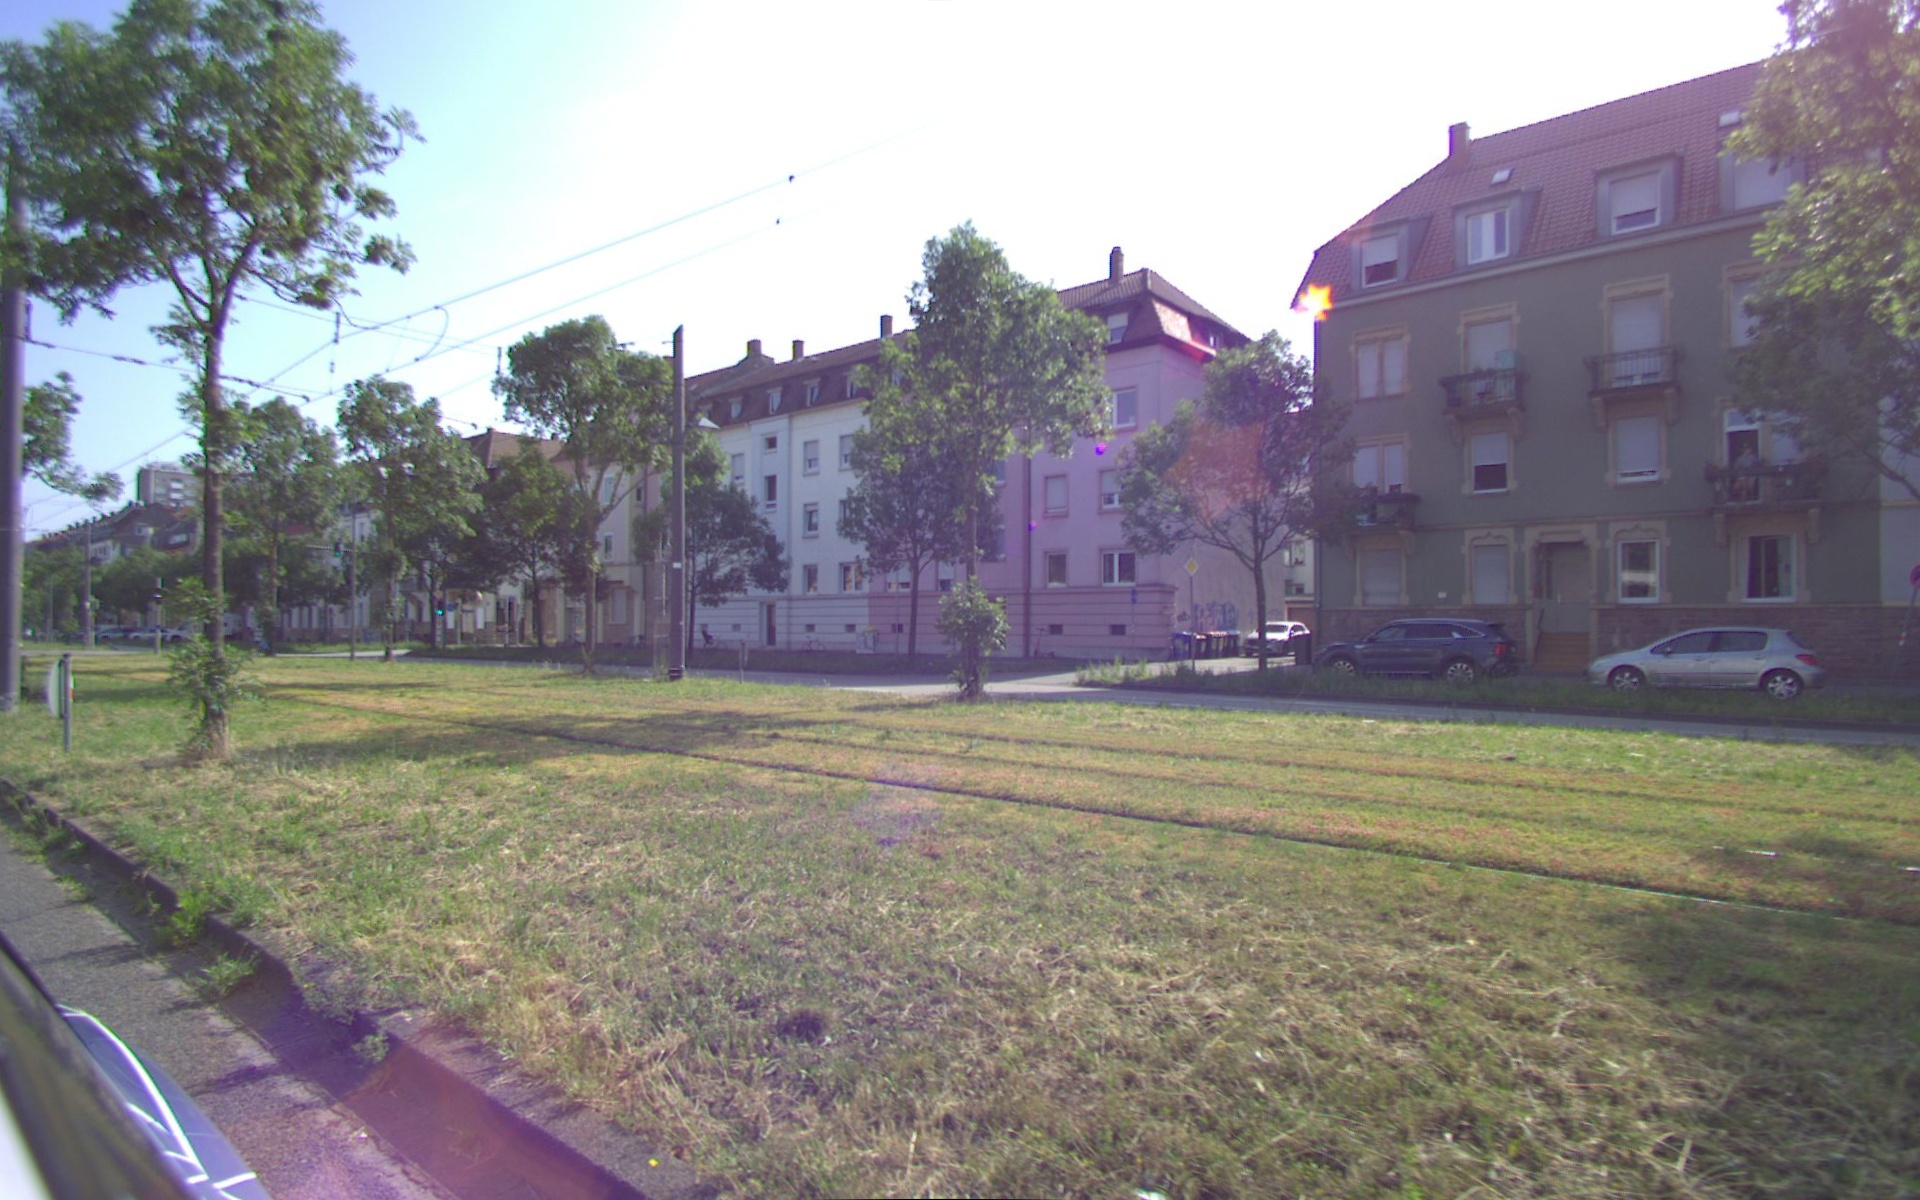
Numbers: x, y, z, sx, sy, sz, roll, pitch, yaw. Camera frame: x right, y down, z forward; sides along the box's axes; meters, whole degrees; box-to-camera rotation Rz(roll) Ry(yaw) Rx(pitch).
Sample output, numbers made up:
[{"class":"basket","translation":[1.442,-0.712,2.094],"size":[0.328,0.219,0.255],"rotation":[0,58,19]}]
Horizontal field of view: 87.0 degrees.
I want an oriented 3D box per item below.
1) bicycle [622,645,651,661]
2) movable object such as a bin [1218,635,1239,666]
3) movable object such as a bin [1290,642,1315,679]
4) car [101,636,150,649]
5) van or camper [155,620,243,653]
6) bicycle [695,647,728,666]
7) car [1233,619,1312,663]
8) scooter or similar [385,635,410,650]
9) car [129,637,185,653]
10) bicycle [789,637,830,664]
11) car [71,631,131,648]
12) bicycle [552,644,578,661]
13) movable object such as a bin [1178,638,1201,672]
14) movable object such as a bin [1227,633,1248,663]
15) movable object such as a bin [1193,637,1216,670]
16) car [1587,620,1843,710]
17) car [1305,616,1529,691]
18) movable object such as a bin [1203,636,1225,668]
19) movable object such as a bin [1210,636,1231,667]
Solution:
[{"class":"bicycle","translation":[-16.976,2.785,53.048],"size":[1.945,0.795,0.433],"rotation":[-1,0,39]},{"class":"movable object such as a bin","translation":[10.931,2.032,41.169],"size":[0.639,1.220,0.579],"rotation":[-1,0,39]},{"class":"movable object such as a bin","translation":[11.779,2.062,34.796],"size":[0.639,1.220,0.579],"rotation":[-1,0,39]},{"class":"car","translation":[-88.496,4.488,107.297],"size":[3.624,1.251,1.667],"rotation":[-1,0,-15]},{"class":"van or camper","translation":[-68.089,3.245,90.663],"size":[5.826,2.593,2.206],"rotation":[-1,0,-15]},{"class":"bicycle","translation":[-11.963,2.711,48.629],"size":[1.945,0.863,0.443],"rotation":[-1,0,39]},{"class":"car","translation":[13.451,1.726,43.408],"size":[1.824,1.640,4.237],"rotation":[-2,0,38]},{"class":"scooter or similar","translation":[-41.081,3.103,73.898],"size":[1.476,1.077,0.737],"rotation":[-1,0,19]},{"class":"car","translation":[-78.276,4.415,98.670],"size":[3.947,1.326,1.667],"rotation":[-1,0,-15]},{"class":"bicycle","translation":[-6.587,2.196,44.121],"size":[1.945,1.136,0.598],"rotation":[-1,0,39]},{"class":"car","translation":[-98.635,4.553,116.278],"size":[4.868,1.739,1.862],"rotation":[-1,0,-15]},{"class":"bicycle","translation":[-22.590,2.995,57.852],"size":[1.945,0.895,0.463],"rotation":[-1,0,39]},{"class":"movable object such as a bin","translation":[8.723,2.086,38.434],"size":[0.639,1.220,0.579],"rotation":[-1,0,39]},{"class":"movable object such as a bin","translation":[11.423,1.975,41.705],"size":[0.639,1.220,0.579],"rotation":[-1,0,39]},{"class":"movable object such as a bin","translation":[9.534,2.079,39.453],"size":[0.639,1.220,0.579],"rotation":[-1,0,39]},{"class":"car","translation":[15.846,1.300,21.394],"size":[4.153,1.640,1.871],"rotation":[-2,0,40]},{"class":"car","translation":[11.356,1.287,25.331],"size":[4.769,1.640,1.974],"rotation":[-2,0,39]},{"class":"movable object such as a bin","translation":[10.053,2.062,40.074],"size":[0.639,1.220,0.579],"rotation":[-1,0,39]},{"class":"movable object such as a bin","translation":[10.437,2.049,40.536],"size":[0.639,1.220,0.579],"rotation":[-1,0,39]}]
